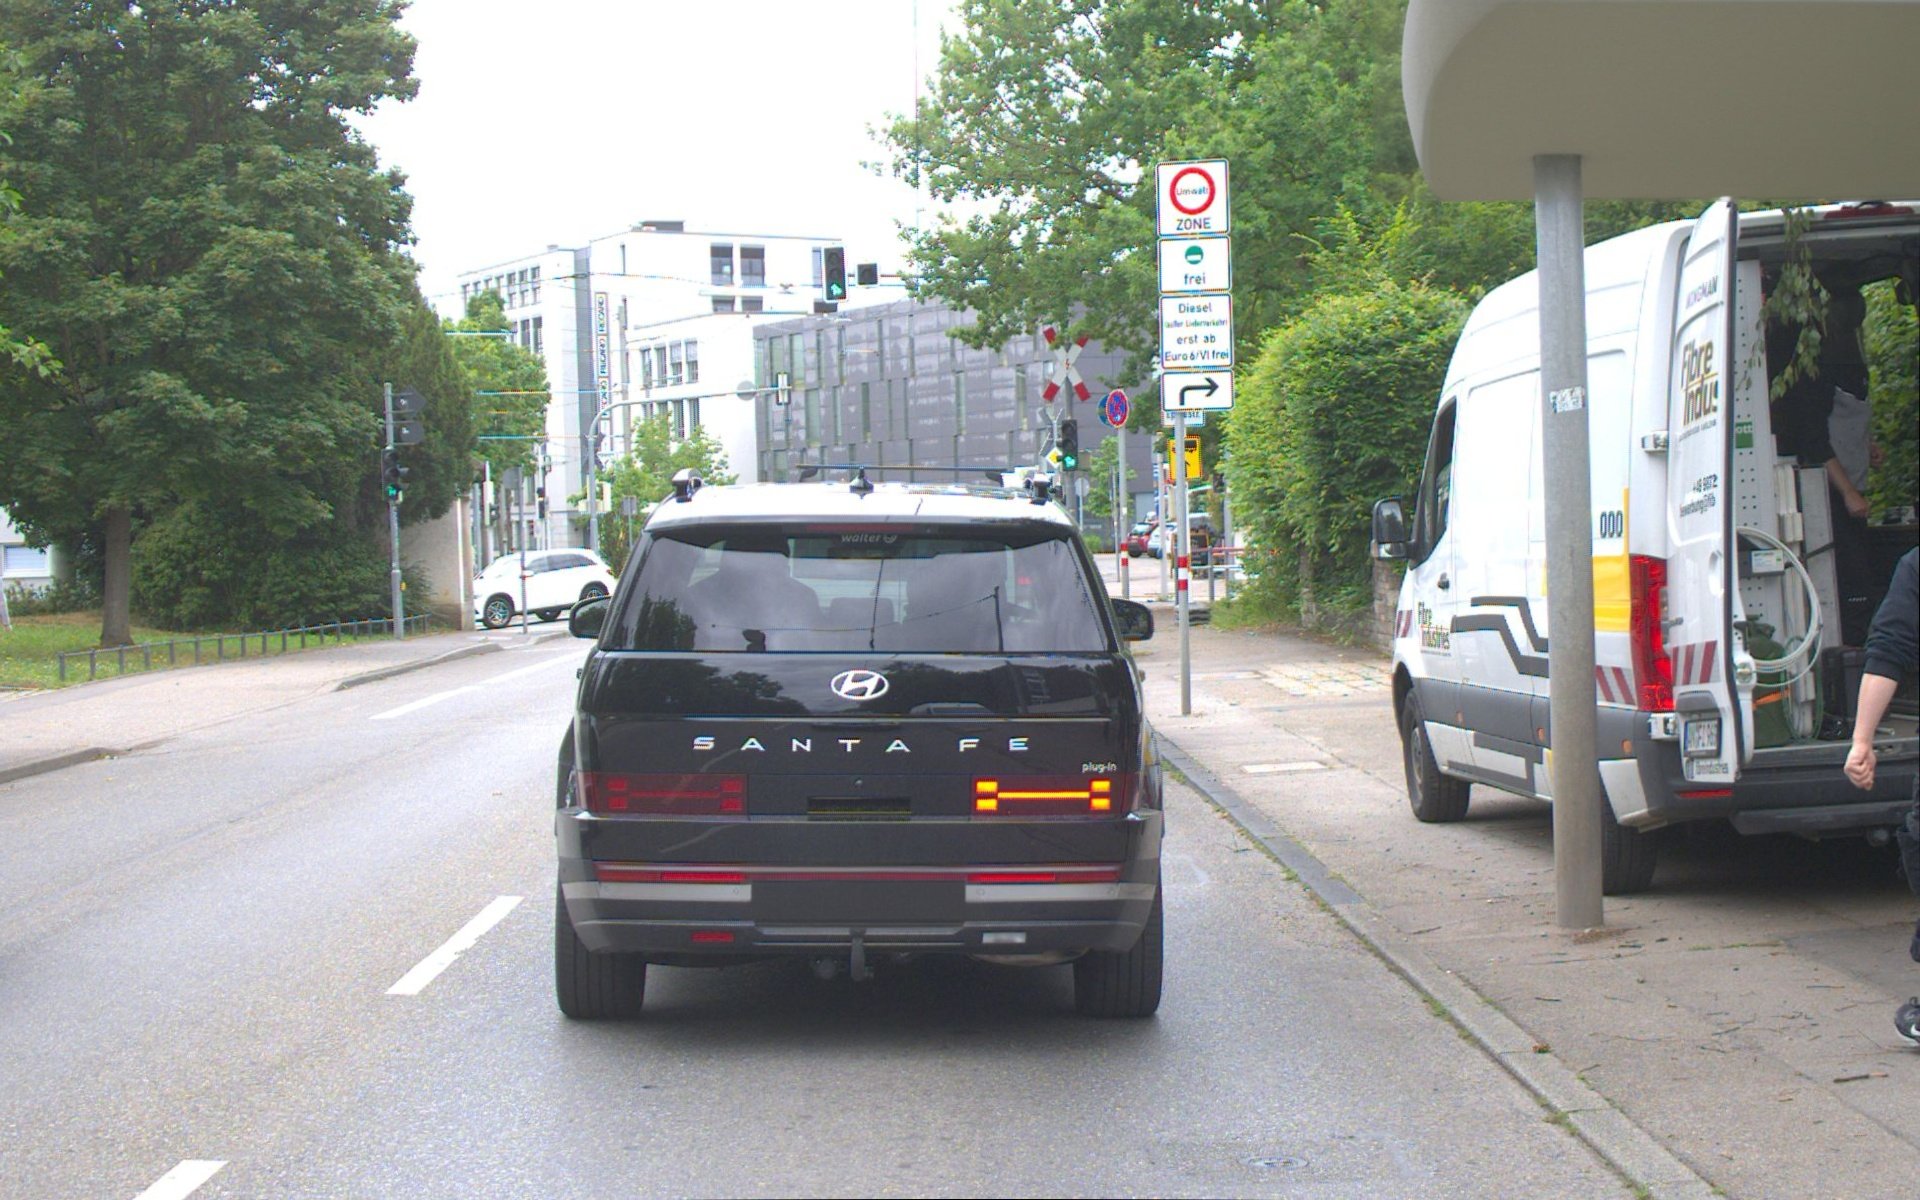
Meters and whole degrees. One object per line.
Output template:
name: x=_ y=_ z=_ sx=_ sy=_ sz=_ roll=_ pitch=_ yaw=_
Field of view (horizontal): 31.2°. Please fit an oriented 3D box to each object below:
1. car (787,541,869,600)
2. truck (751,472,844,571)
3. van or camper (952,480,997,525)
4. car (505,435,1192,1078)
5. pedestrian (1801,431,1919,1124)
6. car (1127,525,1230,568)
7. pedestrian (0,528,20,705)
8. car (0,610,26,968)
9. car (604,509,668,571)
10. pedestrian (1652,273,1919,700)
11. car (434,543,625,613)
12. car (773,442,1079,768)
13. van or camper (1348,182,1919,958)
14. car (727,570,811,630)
car: x=-3.827 y=-0.856 z=99.259 sx=1.883 sy=1.633 sz=3.899 roll=-1 pitch=1 yaw=-9
truck: x=-6.688 y=-3.167 z=140.058 sx=3.107 sy=3.846 sz=9.623 roll=-1 pitch=1 yaw=-6
van or camper: x=0.670 y=-4.565 z=161.797 sx=1.795 sy=1.992 sz=3.824 roll=2 pitch=1 yaw=-4
car: x=-0.334 y=0.419 z=11.747 sx=1.897 sy=1.770 sz=3.994 roll=2 pitch=1 yaw=-1
pedestrian: x=2.610 y=0.418 z=8.858 sx=0.750 sy=1.715 sz=0.791 roll=-3 pitch=2 yaw=16
car: x=8.603 y=-2.116 z=135.728 sx=3.987 sy=1.578 sz=1.889 roll=-1 pitch=1 yaw=3
pedestrian: x=-9.822 y=0.154 z=34.103 sx=0.767 sy=1.742 sz=0.904 roll=0 pitch=1 yaw=-1
car: x=-4.328 y=0.692 z=10.099 sx=1.814 sy=1.414 sz=4.829 roll=-4 pitch=1 yaw=-1
car: x=-12.590 y=-2.341 z=133.329 sx=2.332 sy=2.307 sz=4.959 roll=-1 pitch=1 yaw=-6
pedestrian: x=3.340 y=-0.442 z=13.707 sx=0.736 sy=1.638 sz=0.801 roll=-2 pitch=0 yaw=-28
car: x=-9.986 y=-0.518 z=79.924 sx=1.842 sy=1.533 sz=4.257 roll=0 pitch=1 yaw=41
car: x=-0.234 y=0.006 z=24.012 sx=1.897 sy=2.035 sz=3.994 roll=2 pitch=1 yaw=-1
van or camper: x=3.408 y=-0.157 z=14.597 sx=2.340 sy=2.486 sz=6.603 roll=-4 pitch=0 yaw=-2
car: x=-4.893 y=-0.021 z=87.751 sx=1.883 sy=1.415 sz=4.001 roll=-1 pitch=1 yaw=-6
